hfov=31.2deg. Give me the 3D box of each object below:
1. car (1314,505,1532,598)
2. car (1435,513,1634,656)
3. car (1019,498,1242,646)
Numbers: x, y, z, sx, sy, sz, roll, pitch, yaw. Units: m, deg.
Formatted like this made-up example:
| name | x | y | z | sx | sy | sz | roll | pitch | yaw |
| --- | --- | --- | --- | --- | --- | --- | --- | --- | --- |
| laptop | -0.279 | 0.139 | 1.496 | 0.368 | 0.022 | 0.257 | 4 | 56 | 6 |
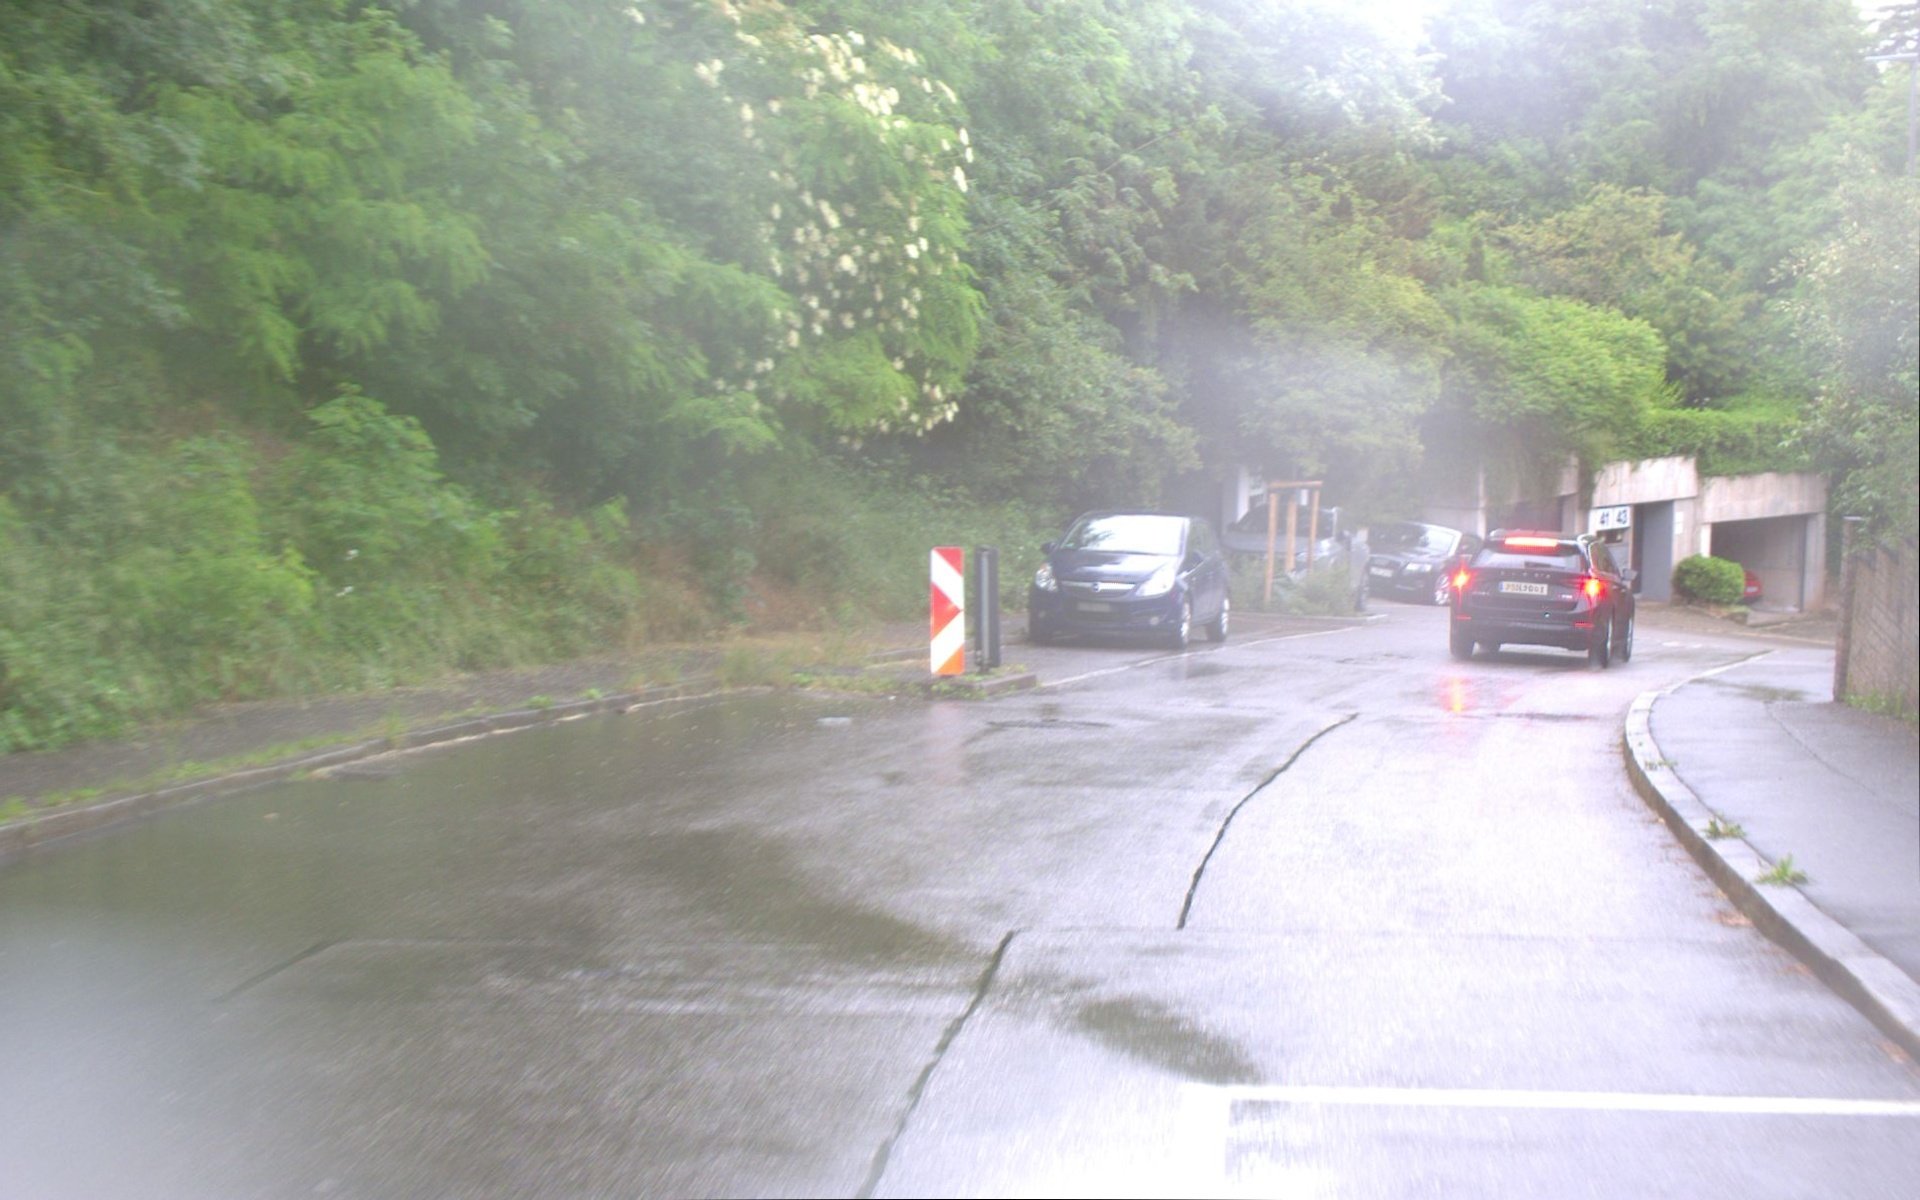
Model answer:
| name | x | y | z | sx | sy | sz | roll | pitch | yaw |
| --- | --- | --- | --- | --- | --- | --- | --- | --- | --- |
| car | 8.239 | -0.838 | 60.856 | 1.997 | 1.503 | 4.562 | 3 | 2 | 33 |
| car | 6.572 | -0.216 | 39.038 | 1.869 | 1.507 | 4.090 | 1 | 2 | 14 |
| car | 1.928 | -0.347 | 37.765 | 1.701 | 1.466 | 3.998 | 3 | 2 | 13 |
